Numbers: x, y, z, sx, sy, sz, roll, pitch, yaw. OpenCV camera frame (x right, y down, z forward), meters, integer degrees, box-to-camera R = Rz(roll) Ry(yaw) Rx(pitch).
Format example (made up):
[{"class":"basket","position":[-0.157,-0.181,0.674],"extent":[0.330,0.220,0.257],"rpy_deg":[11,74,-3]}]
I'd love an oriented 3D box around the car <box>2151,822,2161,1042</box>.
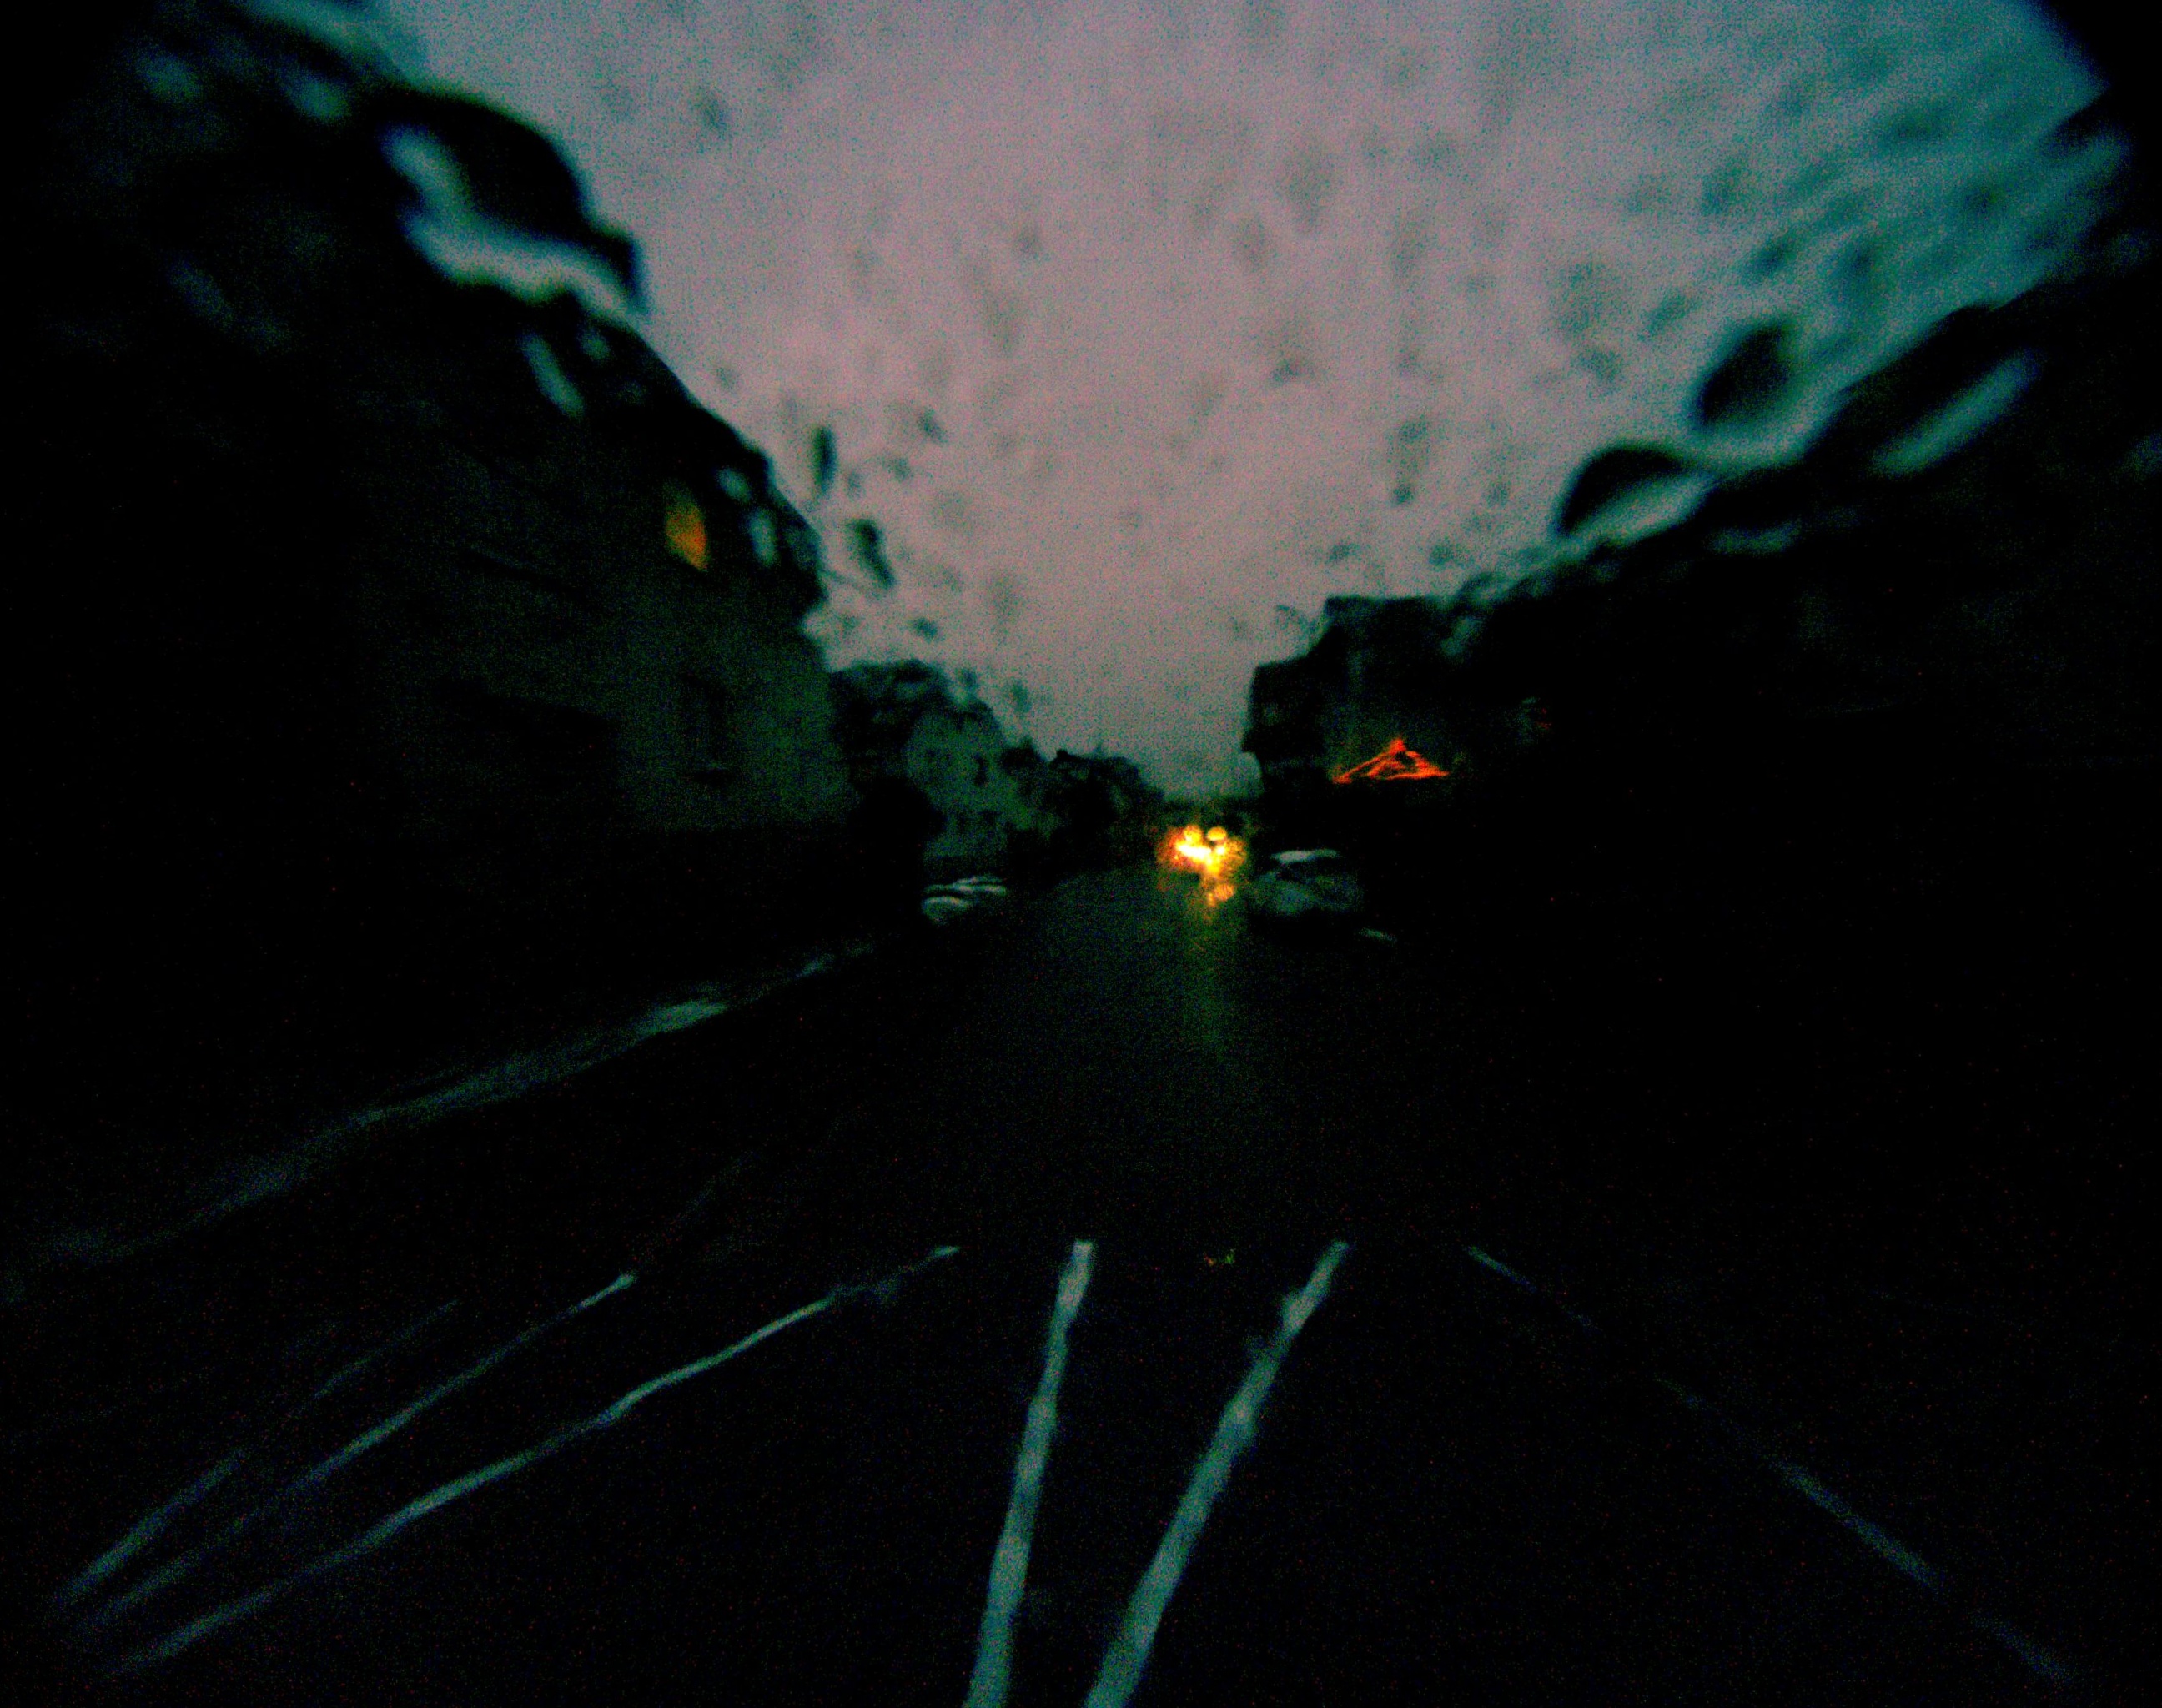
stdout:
[{"class":"car","position":[9.058,0.446,4.209],"extent":[3.471,1.519,1.774],"rpy_deg":[-3,0,5]}]

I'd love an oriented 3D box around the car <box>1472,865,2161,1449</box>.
[{"class":"car","position":[3.808,0.840,3.084],"extent":[1.882,1.386,5.074],"rpy_deg":[-2,1,1]}]

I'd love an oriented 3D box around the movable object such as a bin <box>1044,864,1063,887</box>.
[{"class":"movable object such as a bin","position":[-1.177,0.915,32.664],"extent":[0.638,0.912,0.686],"rpy_deg":[-3,1,6]}]

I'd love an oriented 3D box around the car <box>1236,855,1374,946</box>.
[{"class":"car","position":[4.159,0.794,14.681],"extent":[1.622,1.430,3.656],"rpy_deg":[-2,1,1]}]

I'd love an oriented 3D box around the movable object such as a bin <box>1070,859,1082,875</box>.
[{"class":"movable object such as a bin","position":[-0.275,0.777,45.099],"extent":[0.538,0.932,0.690],"rpy_deg":[-3,1,10]}]
